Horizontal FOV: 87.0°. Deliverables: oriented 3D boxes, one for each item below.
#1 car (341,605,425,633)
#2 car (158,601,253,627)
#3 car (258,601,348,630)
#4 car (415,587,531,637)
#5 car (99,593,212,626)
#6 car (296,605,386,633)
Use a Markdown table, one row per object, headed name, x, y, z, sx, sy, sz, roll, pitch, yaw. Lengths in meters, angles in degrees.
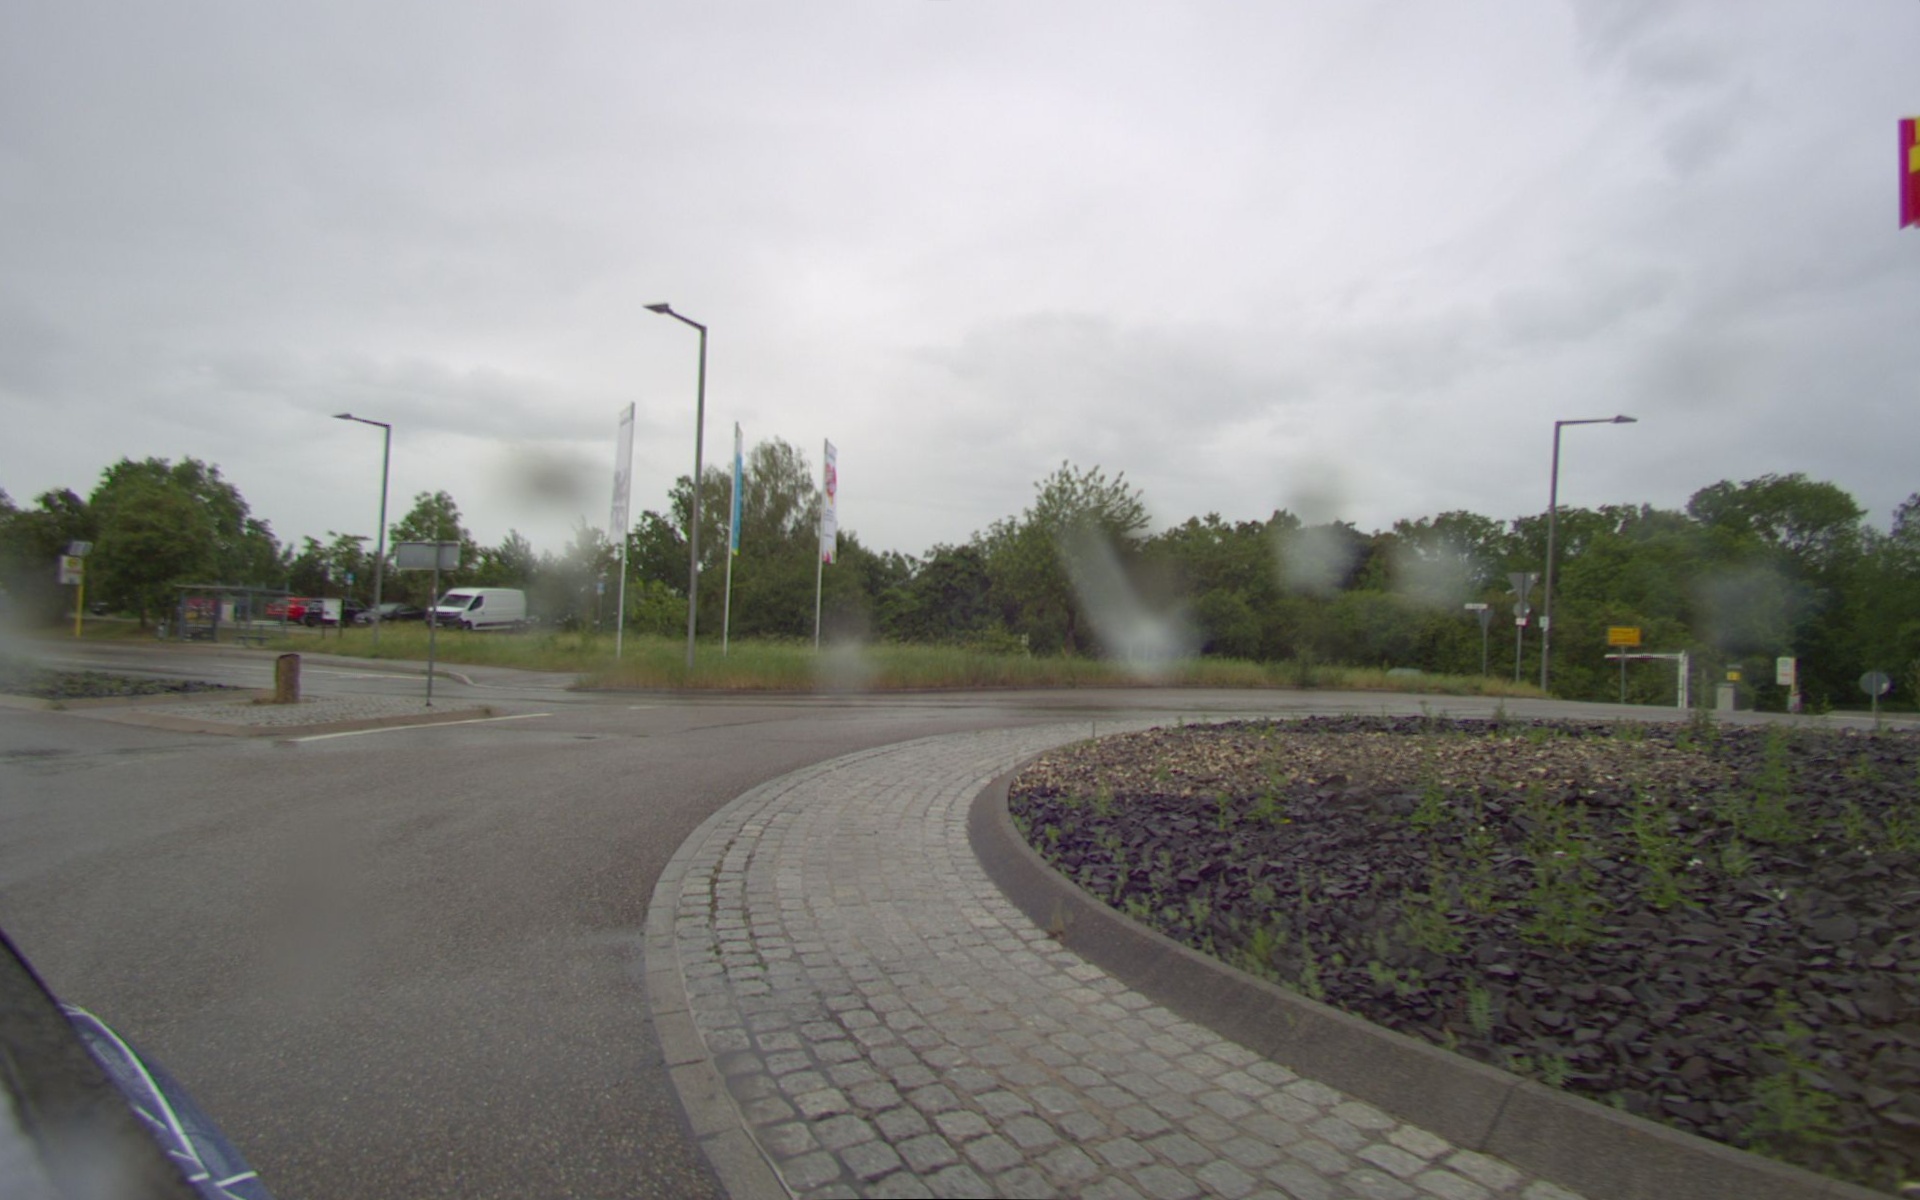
| name | x | y | z | sx | sy | sz | roll | pitch | yaw |
| --- | --- | --- | --- | --- | --- | --- | --- | --- | --- |
| car | -31.276 | 0.996 | 54.962 | 1.638 | 1.374 | 3.980 | 2 | 0 | 15 |
| car | -42.390 | 0.753 | 56.947 | 1.883 | 1.374 | 3.979 | 1 | 0 | 16 |
| car | -36.781 | 0.885 | 56.762 | 1.830 | 1.480 | 3.981 | 2 | -2 | 14 |
| car | -26.124 | 0.687 | 54.627 | 2.116 | 2.415 | 6.556 | 3 | -1 | 10 |
| car | -45.175 | 0.558 | 56.974 | 1.985 | 1.706 | 4.701 | 2 | -1 | 13 |
| car | -33.770 | 1.068 | 55.320 | 1.831 | 1.374 | 3.979 | 1 | -2 | 16 |
